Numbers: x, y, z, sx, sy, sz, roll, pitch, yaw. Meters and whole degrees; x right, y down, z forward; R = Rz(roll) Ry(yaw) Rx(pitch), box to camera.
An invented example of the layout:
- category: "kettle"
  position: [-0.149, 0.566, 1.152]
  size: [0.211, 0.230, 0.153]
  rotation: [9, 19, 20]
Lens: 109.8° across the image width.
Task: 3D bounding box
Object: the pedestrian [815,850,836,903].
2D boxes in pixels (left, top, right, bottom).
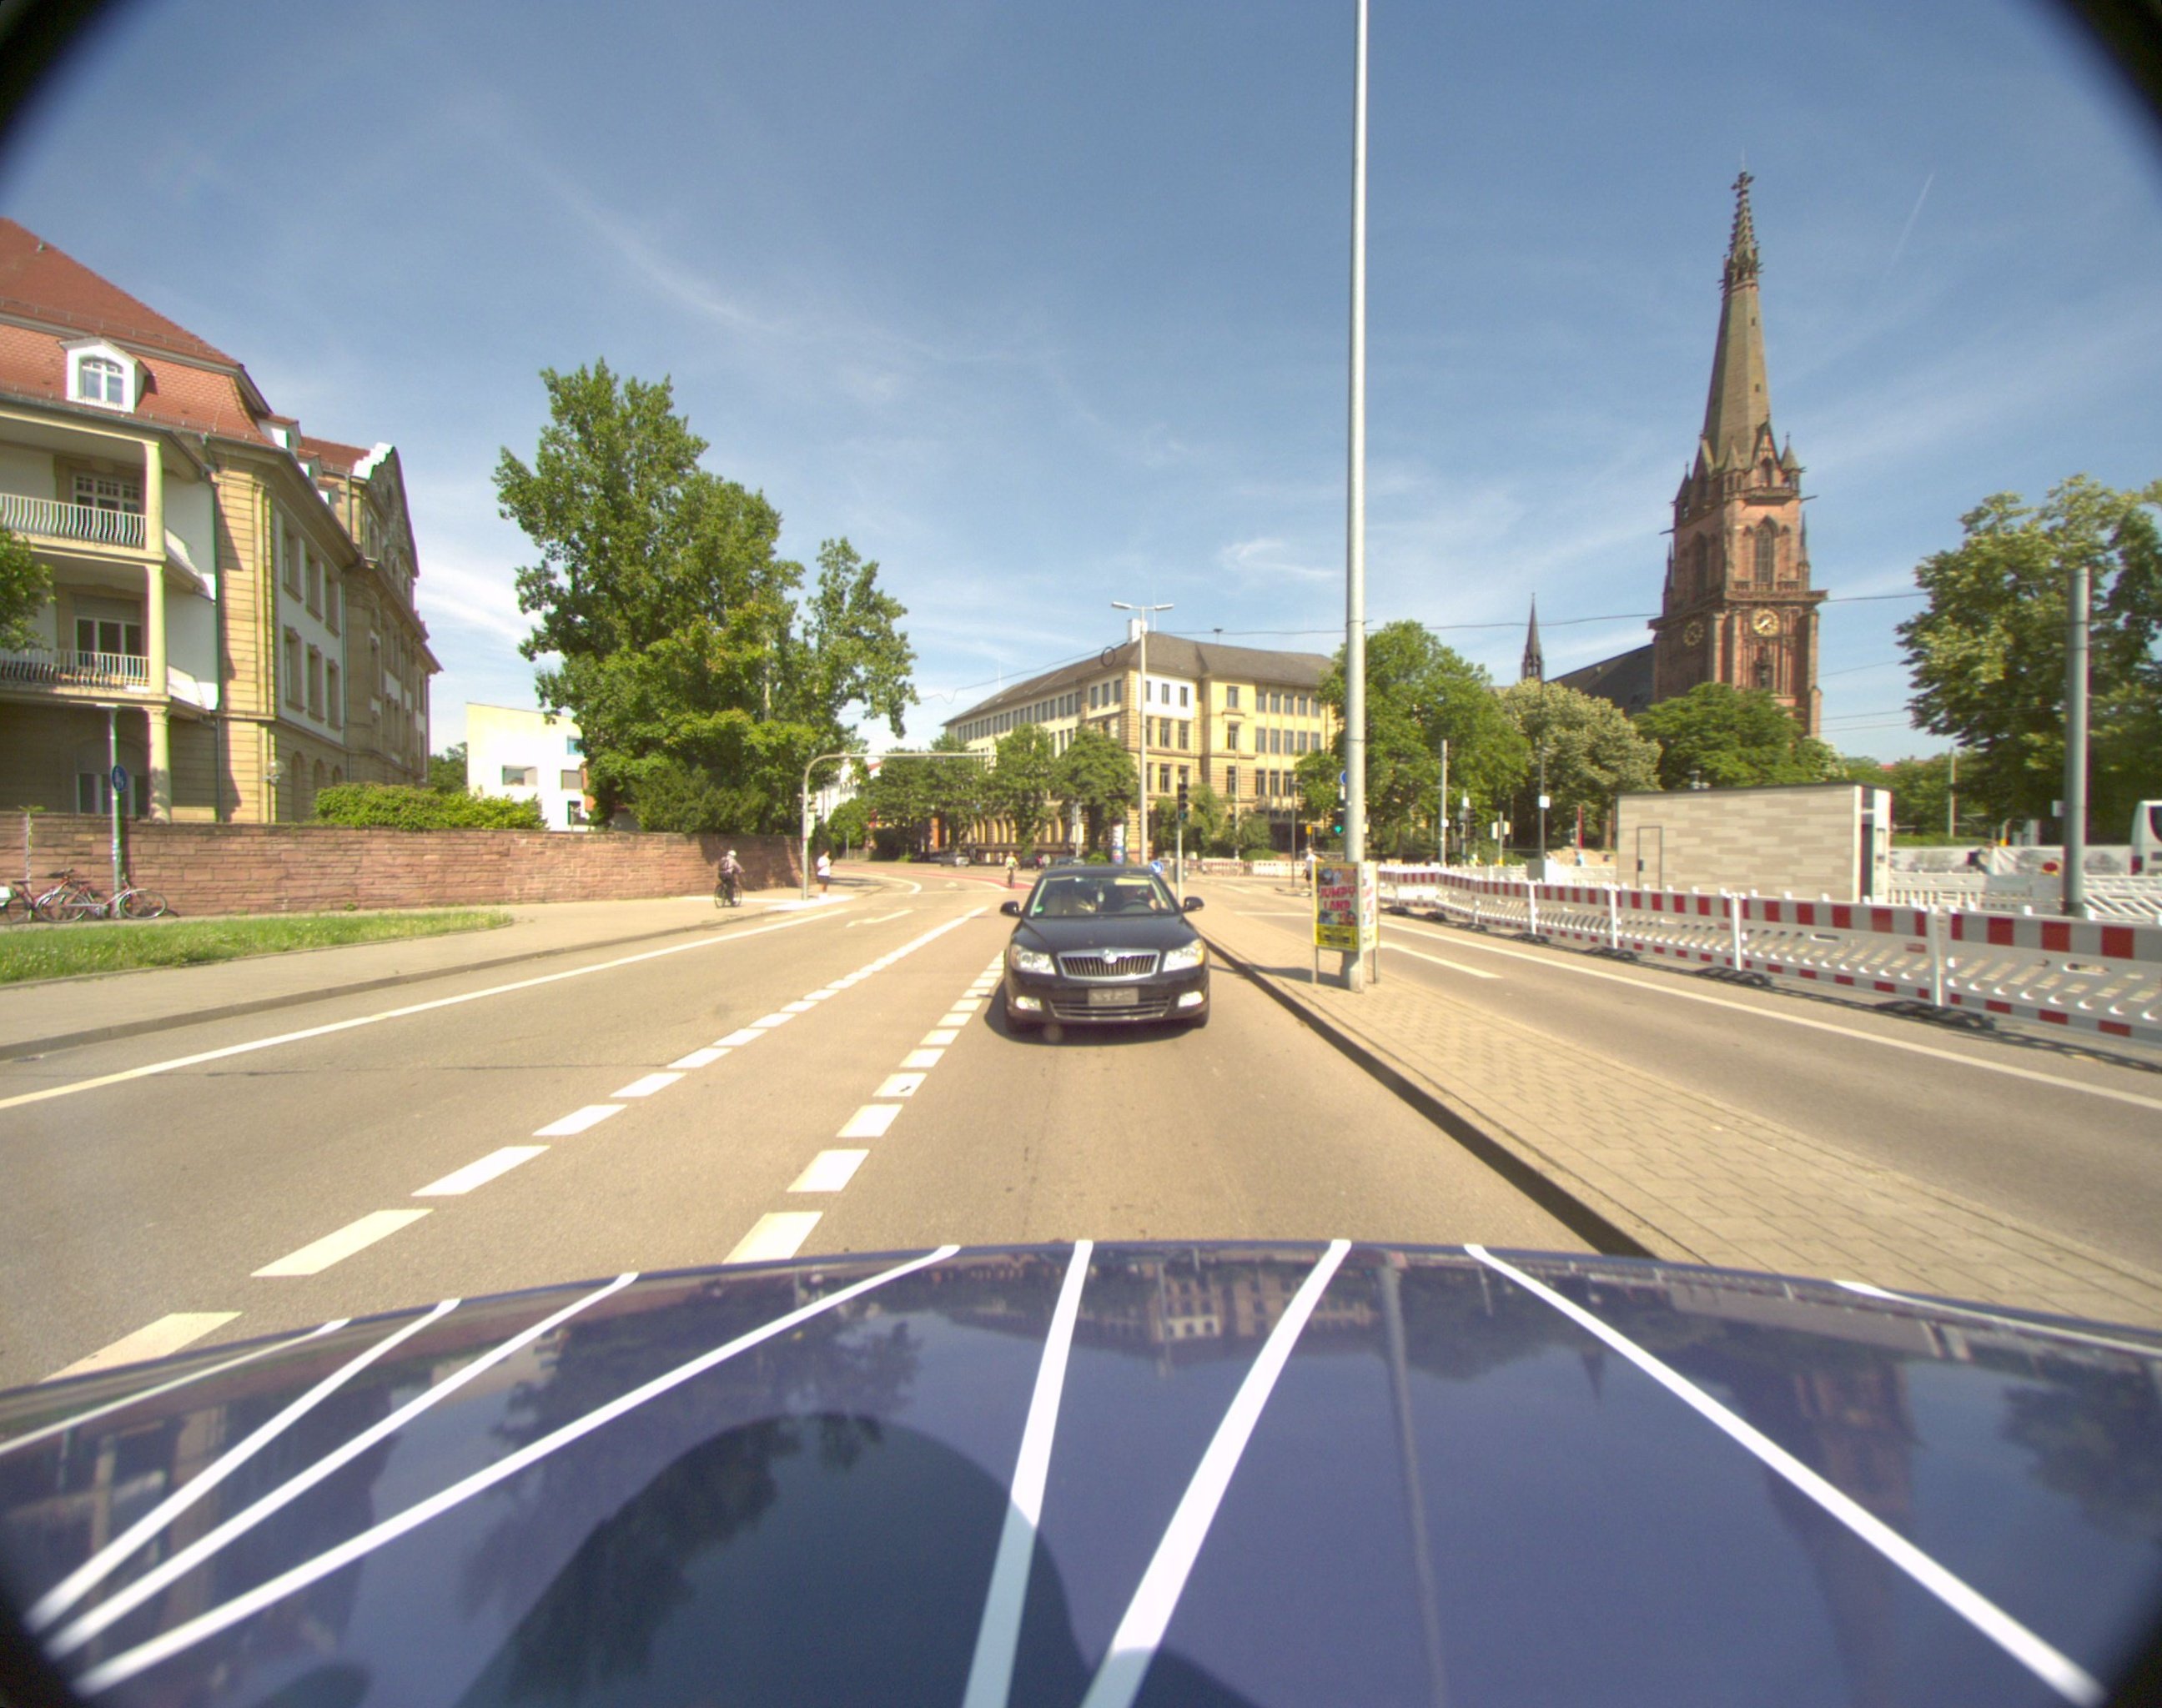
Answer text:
- category: "pedestrian"
  position: [-9.198, 0.784, 27.326]
  size: [0.654, 1.863, 0.795]
  rotation: [2, 1, -18]

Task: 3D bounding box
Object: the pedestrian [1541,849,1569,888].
- category: "pedestrian"
  position: [19.864, 0.604, 31.848]
  size: [0.663, 1.606, 0.792]
  rotation: [-1, 1, -31]

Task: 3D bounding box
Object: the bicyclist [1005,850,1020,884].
- category: "bicyclist"
  position: [-3.278, 0.616, 36.331]
  size: [0.588, 1.539, 0.930]
  rotation: [-2, 2, -13]

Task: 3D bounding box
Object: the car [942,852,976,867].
- category: "car"
  position: [-12.436, 0.509, 77.388]
  size: [1.803, 1.403, 3.989]
  rotation: [1, 1, -35]

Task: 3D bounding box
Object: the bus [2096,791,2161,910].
- category: "bus"
  position: [35.573, -0.057, 18.638]
  size: [2.867, 3.469, 12.624]
  rotation: [0, 1, -34]

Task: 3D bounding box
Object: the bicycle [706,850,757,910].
- category: "bicycle"
  position: [-10.506, 0.749, 22.897]
  size: [0.680, 1.755, 1.811]
  rotation: [0, 1, 1]

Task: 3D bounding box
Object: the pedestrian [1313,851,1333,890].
- category: "pedestrian"
  position: [10.004, 0.681, 31.403]
  size: [0.667, 1.534, 0.423]
  rotation: [-3, 1, 12]

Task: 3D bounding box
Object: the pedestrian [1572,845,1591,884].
- category: "pedestrian"
  position: [20.831, 0.432, 31.615]
  size: [0.584, 1.606, 0.691]
  rotation: [0, 1, 42]

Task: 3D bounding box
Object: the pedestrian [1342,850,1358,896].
- category: "pedestrian"
  position: [9.617, 0.661, 27.166]
  size: [0.350, 1.606, 0.686]
  rotation: [0, 1, 2]

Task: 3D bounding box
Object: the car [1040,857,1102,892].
- category: "car"
  position: [-0.514, 0.850, 33.355]
  size: [1.804, 1.368, 4.271]
  rotation: [-1, 1, -14]

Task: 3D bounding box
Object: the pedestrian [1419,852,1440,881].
- category: "pedestrian"
  position: [20.503, 0.728, 44.703]
  size: [0.939, 1.646, 0.845]
  rotation: [0, 1, 9]

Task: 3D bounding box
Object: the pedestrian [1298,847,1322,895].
- category: "pedestrian"
  position: [8.763, 0.650, 29.078]
  size: [0.839, 1.802, 0.650]
  rotation: [0, 1, 19]

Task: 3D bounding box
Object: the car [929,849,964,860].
- category: "car"
  position: [-17.140, 0.052, 96.802]
  size: [4.008, 1.455, 1.994]
  rotation: [0, 1, -35]

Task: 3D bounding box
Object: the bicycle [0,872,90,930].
- category: "bicycle"
  position: [-21.521, 0.941, 15.575]
  size: [0.348, 1.116, 1.437]
  rotation: [1, 1, 15]

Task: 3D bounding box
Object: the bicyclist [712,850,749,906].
- category: "bicyclist"
  position: [-10.521, 0.708, 22.821]
  size: [0.680, 1.646, 0.919]
  rotation: [0, 1, 1]

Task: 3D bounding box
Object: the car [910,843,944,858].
- category: "car"
  position: [-20.531, -0.435, 101.341]
  size: [4.008, 2.002, 1.994]
  rotation: [0, 1, -35]

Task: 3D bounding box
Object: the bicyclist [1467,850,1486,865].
- category: "bicyclist"
  position: [24.845, 0.186, 47.760]
  size: [0.684, 0.922, 0.867]
  rotation: [-1, 1, -38]

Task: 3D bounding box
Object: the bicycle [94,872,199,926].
- category: "bicycle"
  position: [-20.597, 0.968, 16.778]
  size: [0.348, 1.116, 1.438]
  rotation: [1, 1, 35]

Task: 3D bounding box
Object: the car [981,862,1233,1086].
- category: "car"
  position: [0.015, 0.900, 8.006]
  size: [1.865, 1.510, 4.824]
  rotation: [0, 1, -4]

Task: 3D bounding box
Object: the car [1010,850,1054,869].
- category: "car"
  position: [-4.091, 0.460, 63.604]
  size: [1.675, 1.442, 3.806]
  rotation: [1, 1, -41]

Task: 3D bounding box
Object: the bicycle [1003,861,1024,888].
- category: "bicycle"
  position: [-3.237, 0.948, 36.168]
  size: [0.686, 1.215, 2.183]
  rotation: [0, 1, -14]

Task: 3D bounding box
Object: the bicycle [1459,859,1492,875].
- category: "bicycle"
  position: [24.817, 0.807, 47.817]
  size: [0.703, 0.941, 1.661]
  rotation: [-1, 1, -39]
